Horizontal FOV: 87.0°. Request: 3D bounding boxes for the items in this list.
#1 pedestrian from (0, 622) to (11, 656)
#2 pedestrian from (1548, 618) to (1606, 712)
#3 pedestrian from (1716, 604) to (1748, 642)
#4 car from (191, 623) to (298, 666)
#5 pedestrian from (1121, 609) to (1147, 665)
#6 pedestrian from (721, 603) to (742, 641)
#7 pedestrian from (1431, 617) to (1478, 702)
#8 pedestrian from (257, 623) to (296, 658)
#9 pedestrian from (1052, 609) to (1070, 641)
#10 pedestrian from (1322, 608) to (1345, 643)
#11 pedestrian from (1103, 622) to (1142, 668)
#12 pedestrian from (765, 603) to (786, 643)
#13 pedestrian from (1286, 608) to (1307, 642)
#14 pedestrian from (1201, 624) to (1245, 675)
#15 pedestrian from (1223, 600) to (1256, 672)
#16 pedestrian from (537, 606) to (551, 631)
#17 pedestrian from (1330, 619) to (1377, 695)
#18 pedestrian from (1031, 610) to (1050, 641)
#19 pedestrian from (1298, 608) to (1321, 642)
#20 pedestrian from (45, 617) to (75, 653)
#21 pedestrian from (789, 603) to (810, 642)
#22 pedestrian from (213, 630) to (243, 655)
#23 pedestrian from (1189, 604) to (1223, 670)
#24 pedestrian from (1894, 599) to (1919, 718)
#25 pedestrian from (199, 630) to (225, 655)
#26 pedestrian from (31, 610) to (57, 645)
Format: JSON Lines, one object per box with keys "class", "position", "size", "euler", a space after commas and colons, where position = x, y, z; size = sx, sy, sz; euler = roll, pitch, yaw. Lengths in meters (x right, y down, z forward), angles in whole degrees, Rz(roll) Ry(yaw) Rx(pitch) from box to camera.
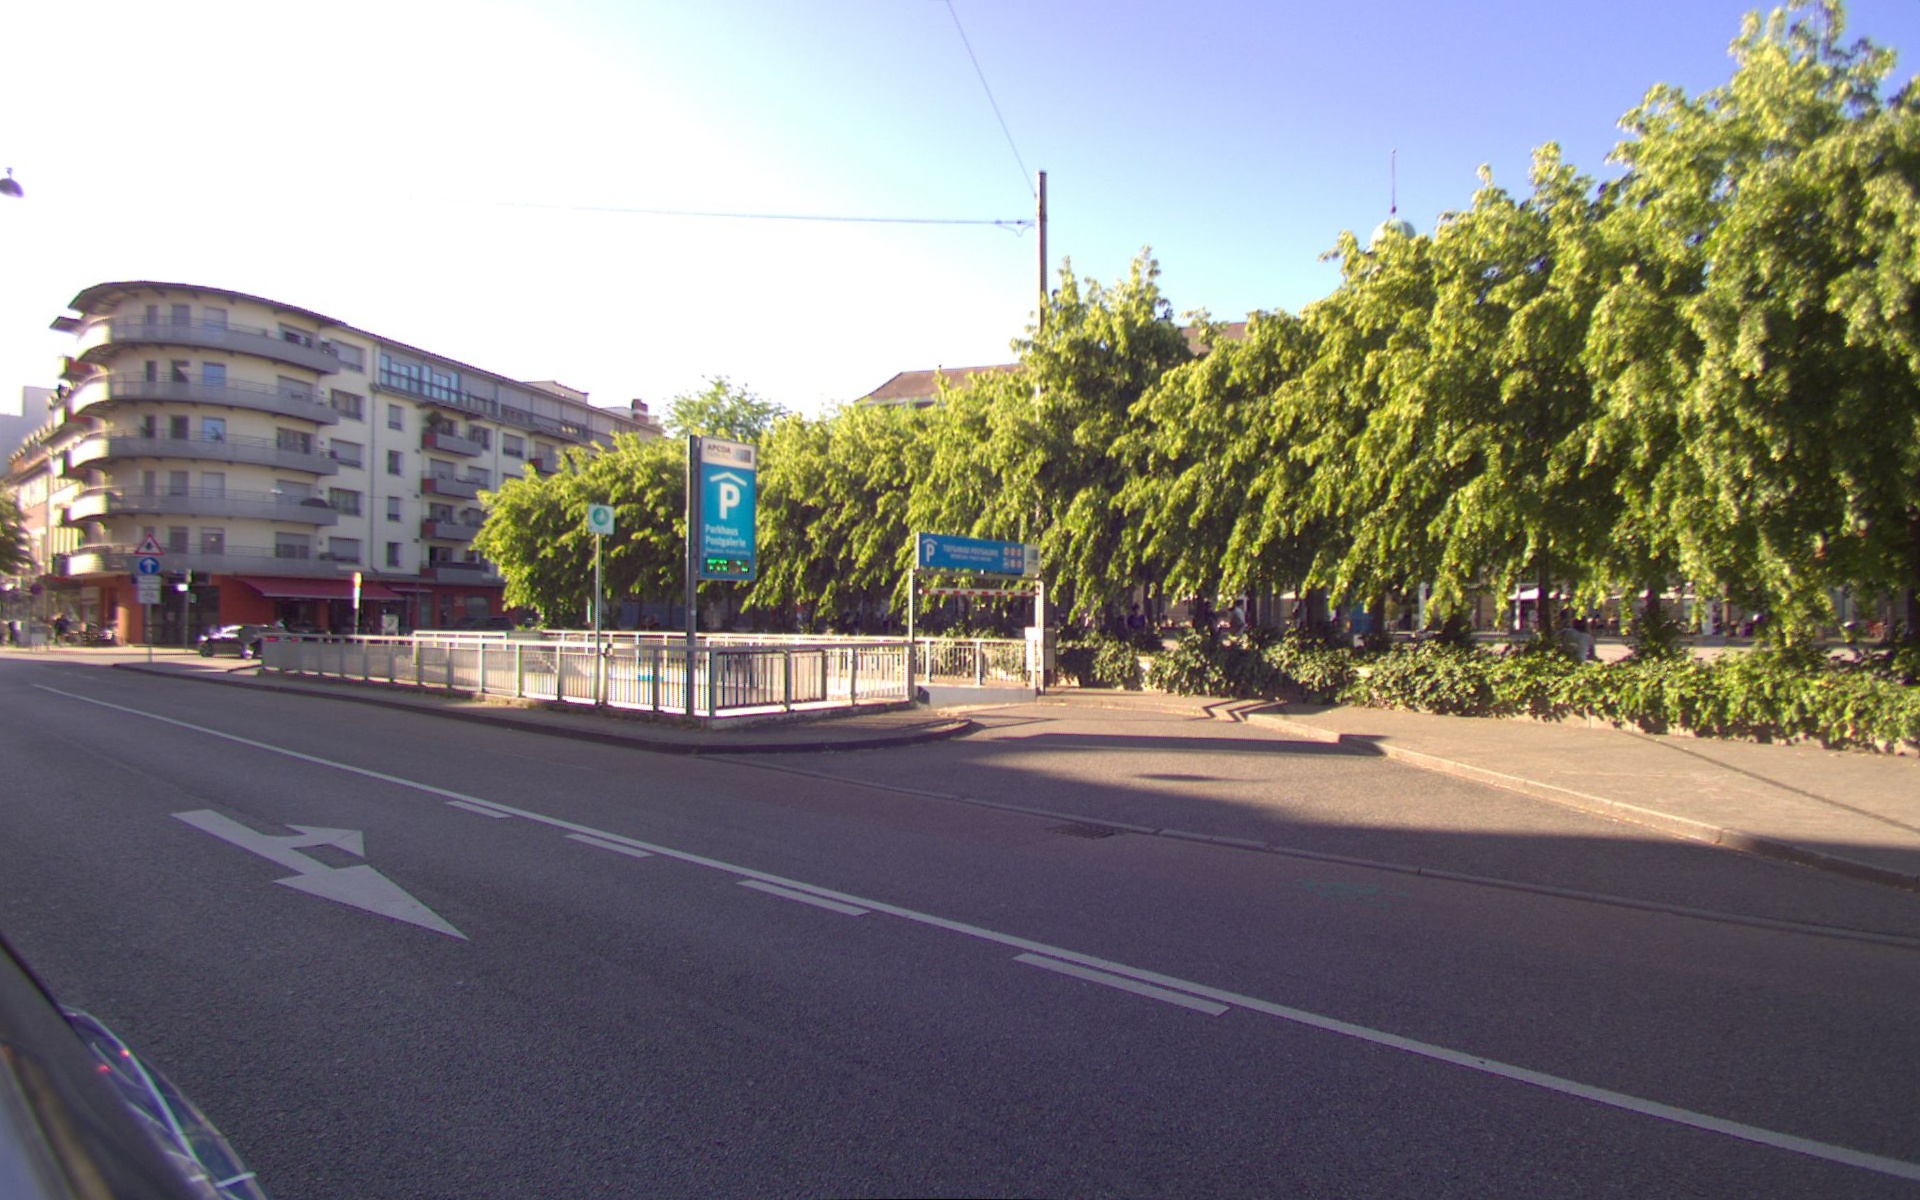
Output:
{"class": "pedestrian", "position": [-49.592, 1.995, 52.104], "size": [1.054, 1.732, 1.081], "euler": [-1, 0, -45]}
{"class": "pedestrian", "position": [9.805, 1.019, 16.097], "size": [0.611, 1.447, 0.588], "euler": [-1, 0, 14]}
{"class": "pedestrian", "position": [31.387, 0.928, 41.145], "size": [0.728, 1.542, 0.696], "euler": [-1, 0, -15]}
{"class": "car", "position": [-30.092, 1.865, 42.546], "size": [4.223, 1.542, 1.663], "euler": [2, -3, 24]}
{"class": "pedestrian", "position": [4.454, 0.940, 25.852], "size": [0.545, 1.385, 0.680], "euler": [-1, 0, 19]}
{"class": "pedestrian", "position": [-11.389, 1.079, 50.450], "size": [0.679, 1.857, 0.743], "euler": [-1, 0, 19]}
{"class": "pedestrian", "position": [8.749, 1.033, 17.906], "size": [0.621, 1.447, 0.645], "euler": [-1, 0, 39]}
{"class": "pedestrian", "position": [-33.700, 1.975, 49.892], "size": [1.252, 1.678, 1.142], "euler": [-1, 0, -11]}
{"class": "pedestrian", "position": [4.471, 1.115, 44.824], "size": [0.684, 1.385, 0.684], "euler": [-1, 0, 1]}
{"class": "pedestrian", "position": [16.656, 1.114, 45.164], "size": [0.672, 1.536, 0.696], "euler": [-1, 0, -19]}
{"class": "pedestrian", "position": [4.022, 1.099, 25.056], "size": [0.682, 1.079, 0.686], "euler": [-1, 0, -29]}
{"class": "pedestrian", "position": [-8.915, 1.109, 48.891], "size": [0.681, 1.877, 0.741], "euler": [-1, 0, 27]}
{"class": "pedestrian", "position": [15.468, 1.129, 46.519], "size": [0.673, 1.535, 0.695], "euler": [-1, 0, -7]}
{"class": "pedestrian", "position": [5.774, 1.069, 22.224], "size": [0.682, 1.079, 0.686], "euler": [-1, 0, -13]}
{"class": "pedestrian", "position": [6.348, 0.811, 22.968], "size": [0.519, 1.594, 0.684], "euler": [-1, 0, -1]}
{"class": "pedestrian", "position": [-31.265, 1.410, 76.019], "size": [0.684, 1.857, 0.737], "euler": [-1, 0, 41]}
{"class": "pedestrian", "position": [7.522, 1.068, 19.352], "size": [0.622, 1.409, 0.644], "euler": [-1, 0, 44]}
{"class": "pedestrian", "position": [3.576, 1.127, 44.861], "size": [0.752, 1.385, 0.684], "euler": [-1, 0, 1]}
{"class": "pedestrian", "position": [15.756, 1.126, 45.669], "size": [0.672, 1.542, 0.696], "euler": [-1, 0, -18]}
{"class": "pedestrian", "position": [-45.730, 1.775, 51.432], "size": [0.962, 1.762, 1.047], "euler": [-1, 0, 41]}
{"class": "pedestrian", "position": [-7.921, 1.106, 49.892], "size": [0.681, 1.857, 0.741], "euler": [-1, 0, 27]}
{"class": "pedestrian", "position": [-36.820, 2.136, 50.903], "size": [0.827, 1.207, 0.931], "euler": [-1, 0, 16]}
{"class": "pedestrian", "position": [5.809, 0.859, 23.873], "size": [0.688, 1.511, 0.680], "euler": [-1, 0, 19]}
{"class": "pedestrian", "position": [12.857, 0.758, 13.299], "size": [0.691, 1.532, 0.677], "euler": [-1, 0, 30]}
{"class": "pedestrian", "position": [-37.641, 2.147, 50.948], "size": [0.882, 1.207, 0.772], "euler": [-1, 0, 30]}
{"class": "pedestrian", "position": [-52.206, 1.575, 57.686], "size": [0.790, 1.934, 0.978], "euler": [-1, 0, 37]}
